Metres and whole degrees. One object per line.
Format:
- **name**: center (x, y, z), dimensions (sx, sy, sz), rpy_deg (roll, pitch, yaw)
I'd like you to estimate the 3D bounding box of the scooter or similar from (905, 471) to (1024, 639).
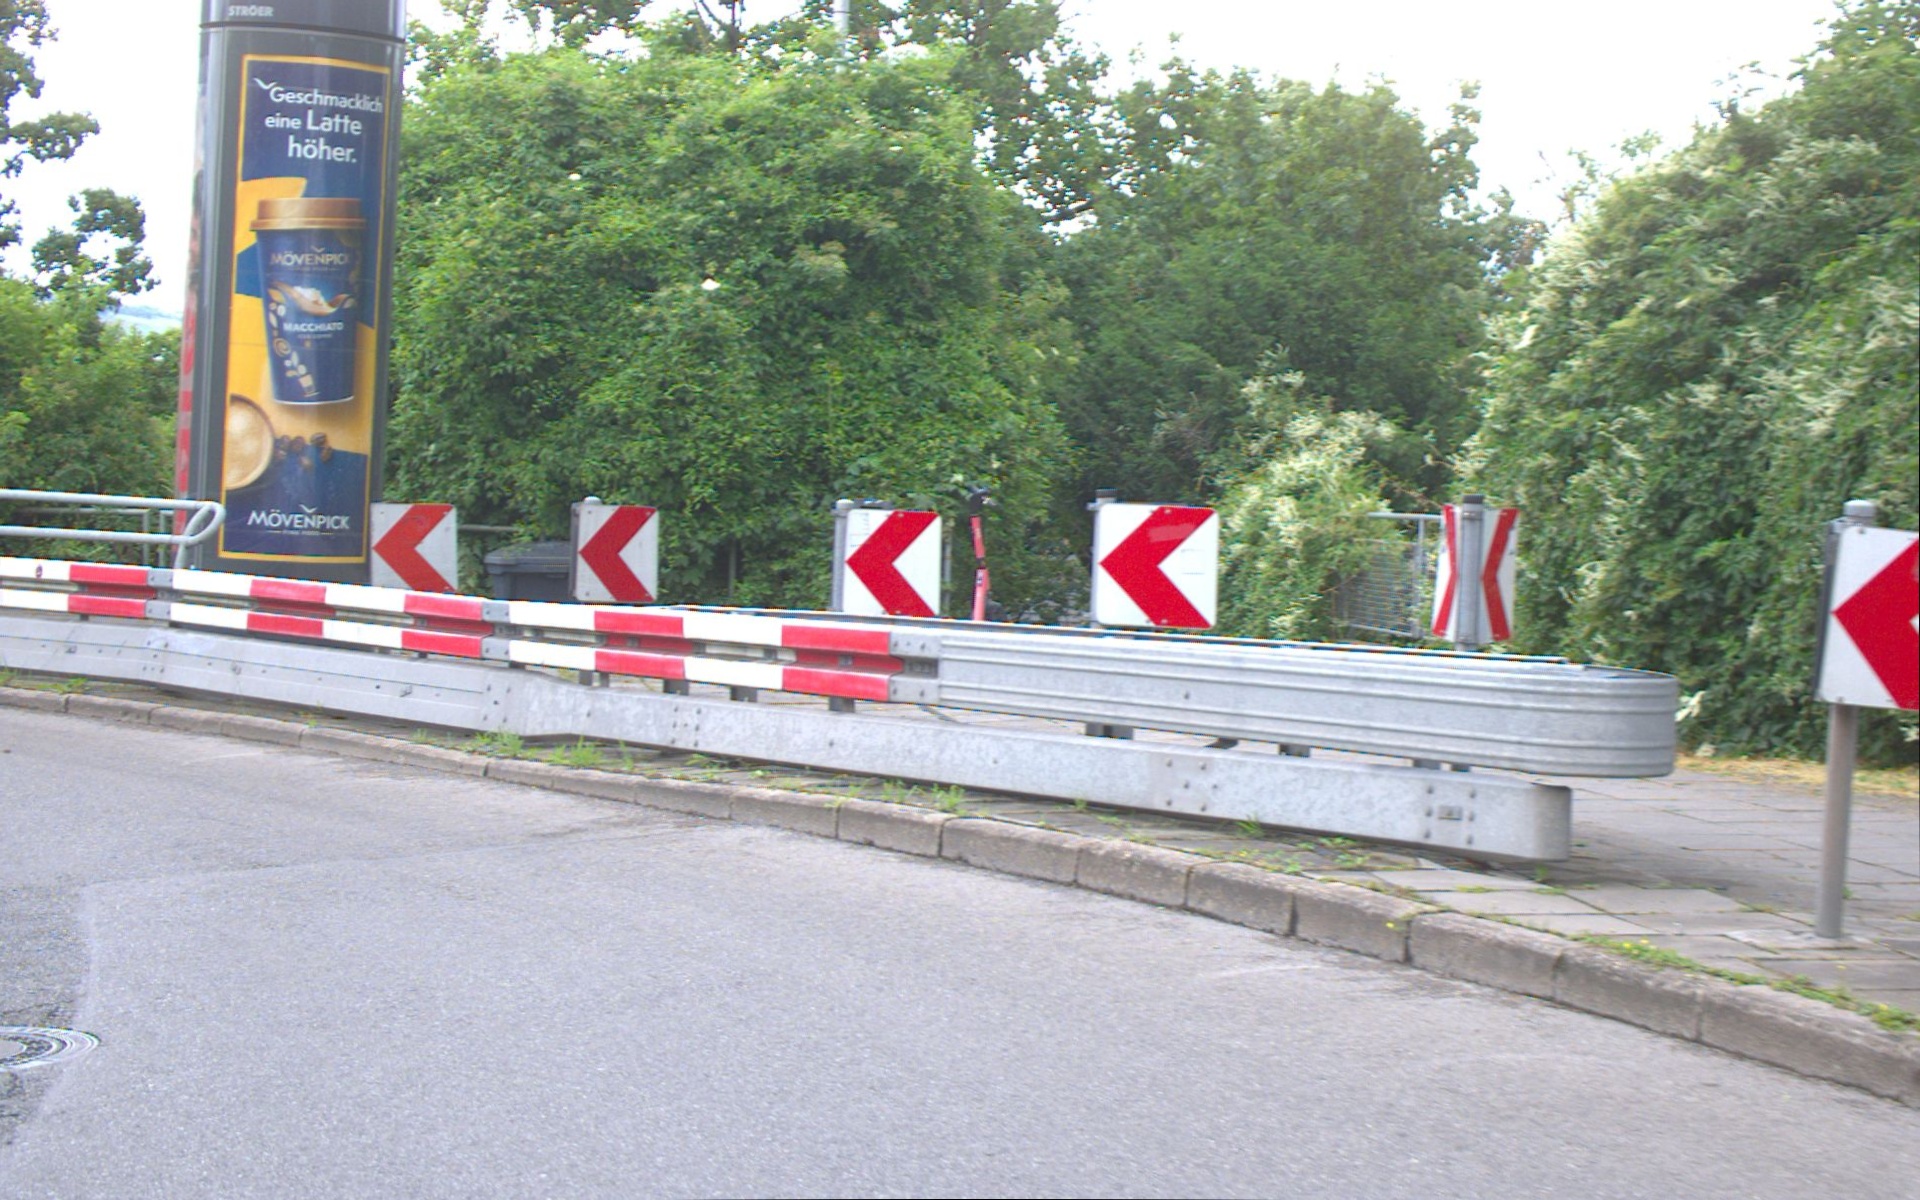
- **scooter or similar**: center (0.048, -0.360, 26.511), dimensions (0.435, 1.246, 1.500), rpy_deg (3, 3, 18)
